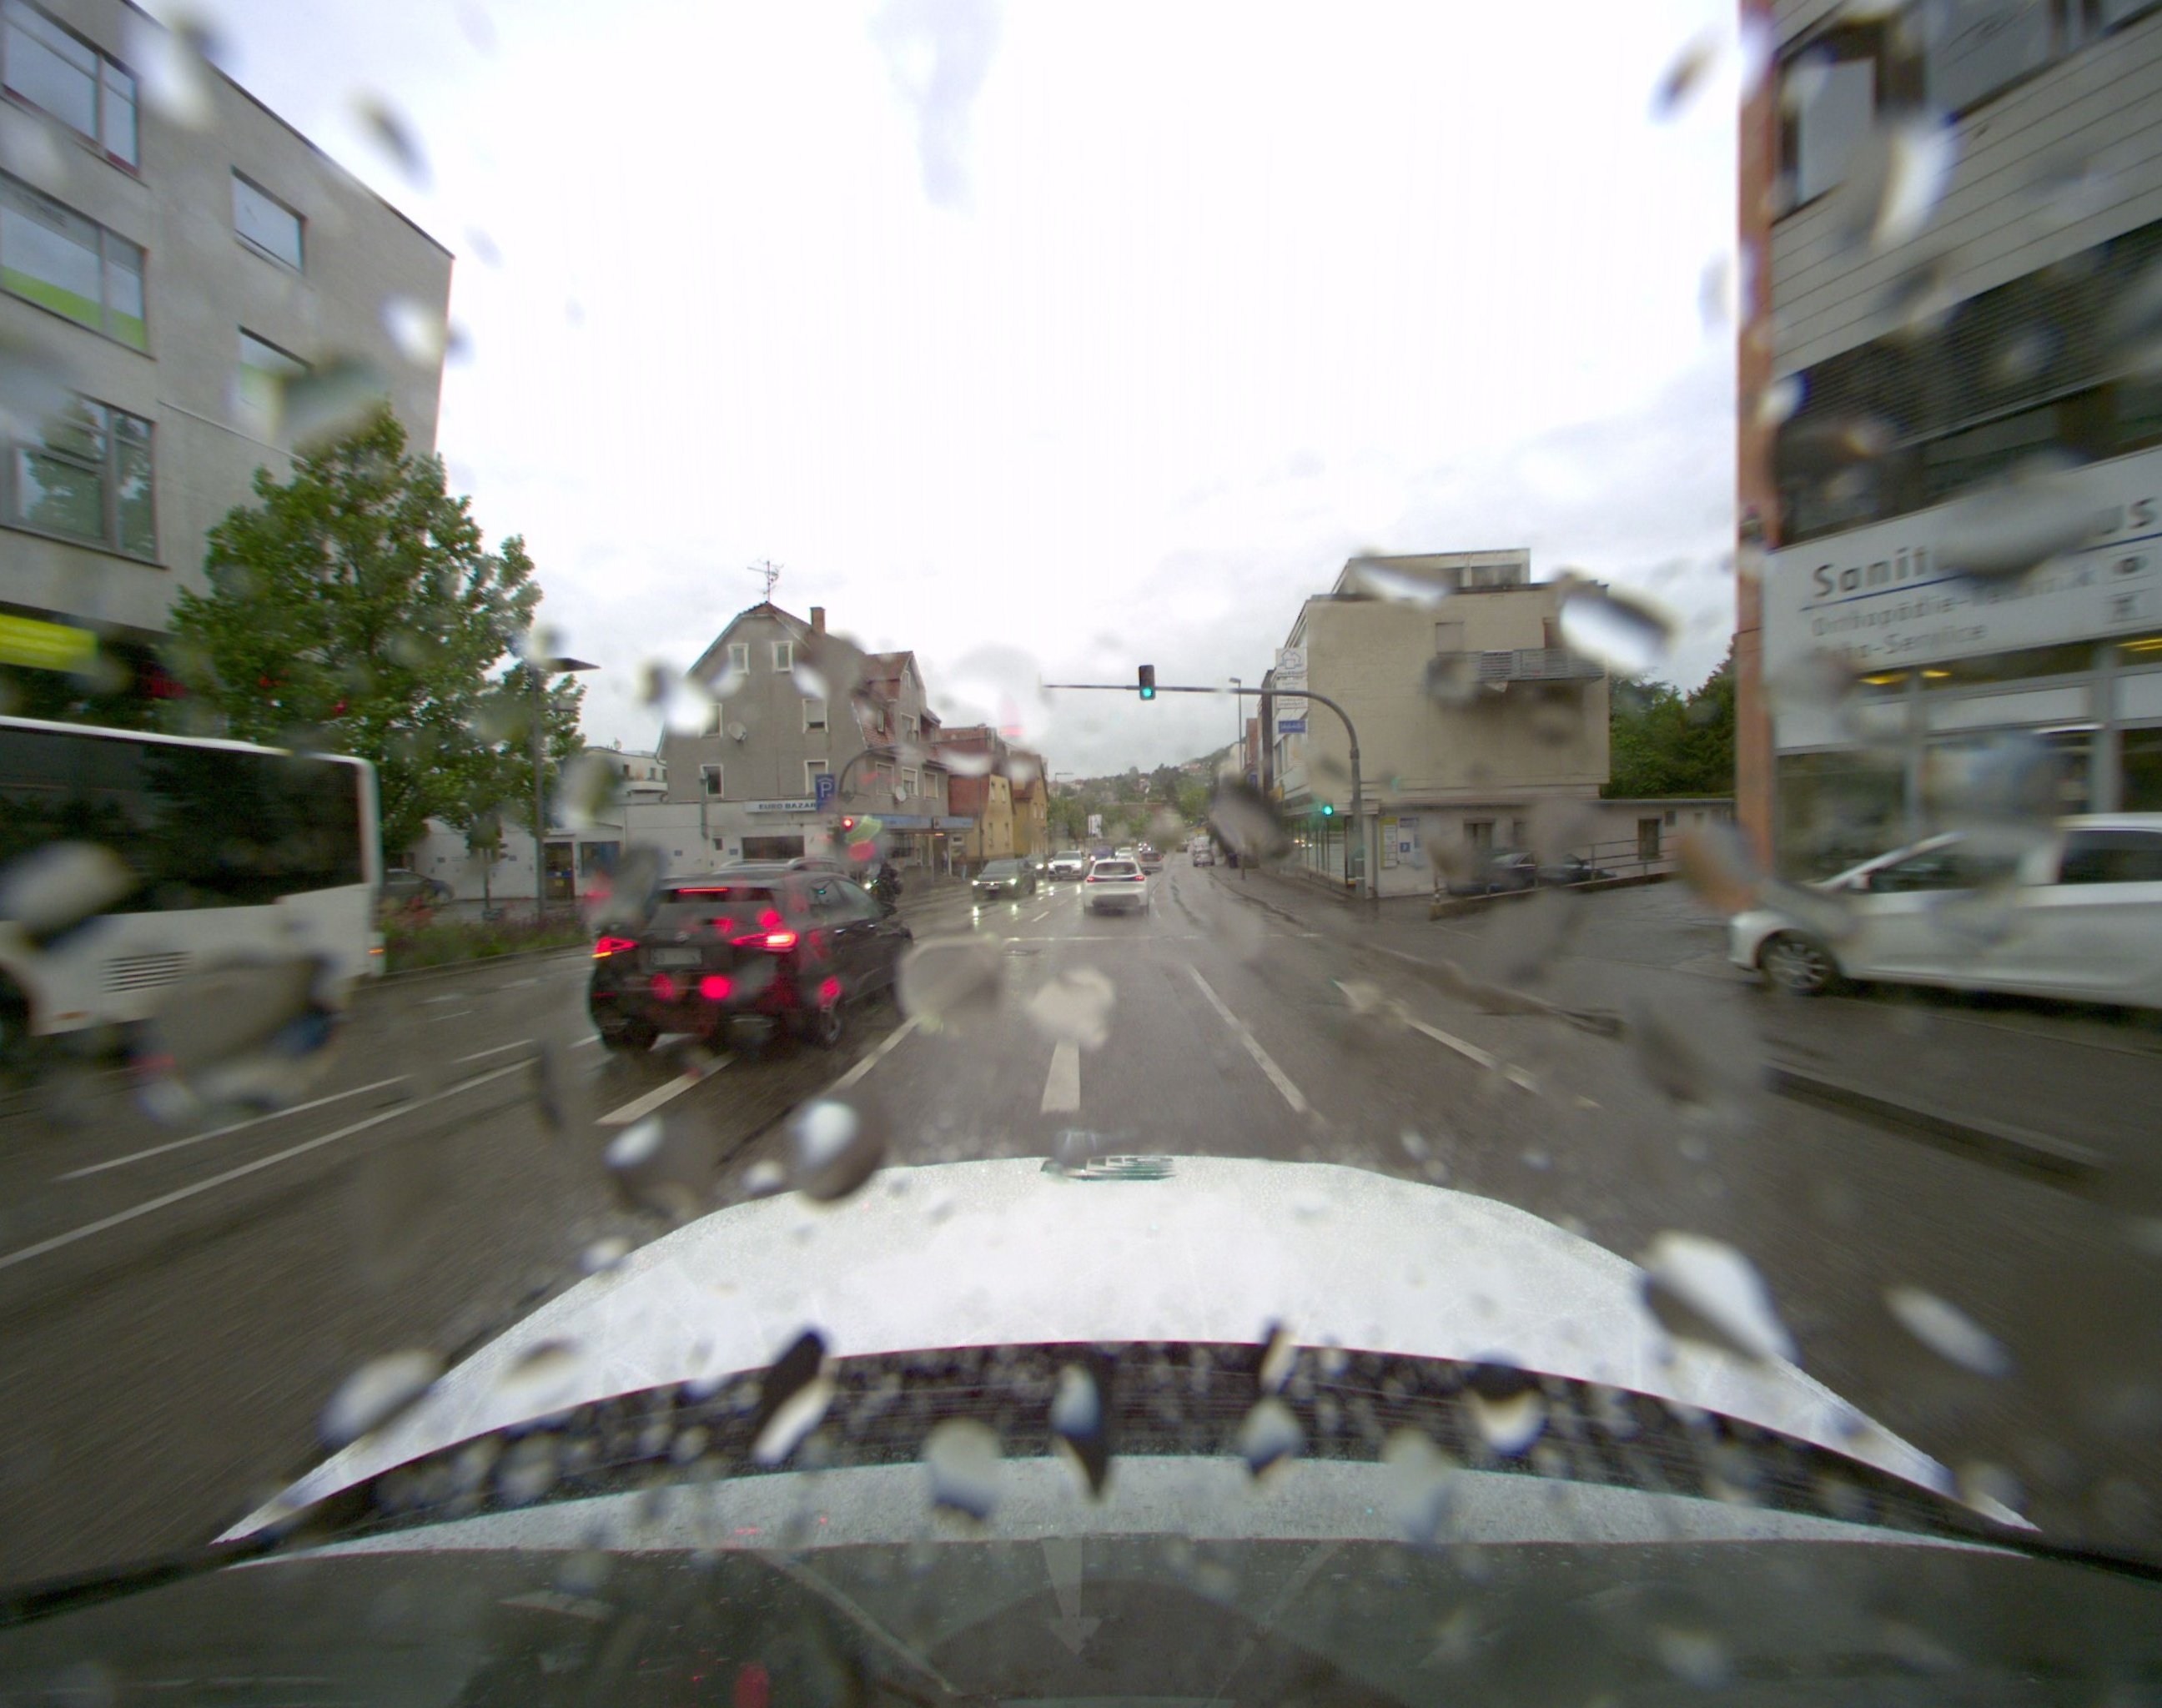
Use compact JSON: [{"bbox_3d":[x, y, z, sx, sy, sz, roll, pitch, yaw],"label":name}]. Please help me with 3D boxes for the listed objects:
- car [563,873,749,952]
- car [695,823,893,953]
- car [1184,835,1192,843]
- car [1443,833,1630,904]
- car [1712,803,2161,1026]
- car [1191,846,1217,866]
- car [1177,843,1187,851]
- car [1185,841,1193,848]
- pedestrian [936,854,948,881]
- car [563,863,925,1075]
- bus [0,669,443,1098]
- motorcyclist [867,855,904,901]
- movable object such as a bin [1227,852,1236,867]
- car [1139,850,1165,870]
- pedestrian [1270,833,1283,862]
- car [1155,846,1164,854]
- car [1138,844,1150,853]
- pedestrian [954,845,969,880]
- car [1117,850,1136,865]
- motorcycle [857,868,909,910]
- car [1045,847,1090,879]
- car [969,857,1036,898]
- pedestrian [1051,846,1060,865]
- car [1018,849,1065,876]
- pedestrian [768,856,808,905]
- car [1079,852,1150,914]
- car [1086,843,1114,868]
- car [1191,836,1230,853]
[{"bbox_3d":[-8.571,1.118,16.797,1.632,1.338,3.607,-2,-1,6],"label":"car"},{"bbox_3d":[-5.096,0.557,15.143,1.624,2.014,4.294,-2,-1,8],"label":"car"},{"bbox_3d":[29.534,-4.202,224.740,1.983,2.014,4.008,-2,-1,7],"label":"car"},{"bbox_3d":[11.034,0.300,19.668,4.409,1.411,1.721,-3,1,-26],"label":"car"},{"bbox_3d":[7.448,0.392,6.523,1.618,1.462,3.398,-2,-1,-22],"label":"car"},{"bbox_3d":[10.914,0.192,72.664,2.002,1.622,4.366,-1,-1,5],"label":"car"},{"bbox_3d":[17.506,-1.234,141.180,1.725,1.388,3.358,0,0,6],"label":"car"},{"bbox_3d":[24.627,-2.056,186.274,1.639,1.485,3.372,-2,-1,7],"label":"car"},{"bbox_3d":[-8.332,0.804,48.758,0.540,1.557,0.447,-2,-1,7],"label":"pedestrian"},{"bbox_3d":[-2.826,0.849,7.955,1.709,1.450,4.198,-2,-1,1],"label":"car"},{"bbox_3d":[-9.521,0.247,3.570,2.877,3.099,12.021,-2,0,7],"label":"bus"},{"bbox_3d":[-6.505,0.791,27.163,0.781,1.456,1.142,-2,-1,7],"label":"motorcyclist"},{"bbox_3d":[11.351,0.401,61.316,0.573,1.048,0.832,-3,2,6],"label":"movable object such as a bin"},{"bbox_3d":[5.187,0.423,59.602,1.734,1.295,3.337,-2,1,3],"label":"car"},{"bbox_3d":[12.166,-0.411,50.732,0.724,1.780,0.957,-1,1,14],"label":"pedestrian"},{"bbox_3d":[12.226,-0.564,126.810,1.207,1.156,2.273,-2,-1,5],"label":"car"},{"bbox_3d":[10.870,-0.943,139.847,1.759,1.413,4.534,-2,-1,6],"label":"car"},{"bbox_3d":[-6.612,0.470,44.971,0.659,1.921,0.946,1,-1,-1],"label":"pedestrian"},{"bbox_3d":[5.105,0.358,91.269,1.868,1.609,4.727,-2,0,6],"label":"car"},{"bbox_3d":[-6.539,1.128,27.038,0.902,1.283,2.189,-2,-1,7],"label":"motorcycle"},{"bbox_3d":[-0.728,0.507,48.234,2.089,1.712,4.855,-2,-1,5],"label":"car"},{"bbox_3d":[-2.930,0.858,31.329,1.750,1.434,4.386,-2,-1,5],"label":"car"},{"bbox_3d":[-2.519,0.139,80.455,0.799,1.788,0.881,-2,-1,-3],"label":"pedestrian"},{"bbox_3d":[-2.581,0.535,54.258,1.989,1.617,4.962,-2,-1,10],"label":"car"},{"bbox_3d":[-11.055,0.982,30.778,0.920,1.788,1.235,-2,-1,5],"label":"pedestrian"},{"bbox_3d":[1.004,0.751,22.403,1.682,1.519,3.939,-2,-1,6],"label":"car"},{"bbox_3d":[1.657,0.140,67.599,1.956,1.938,5.186,-2,-1,5],"label":"car"},{"bbox_3d":[20.022,-1.476,125.582,6.661,2.382,2.271,-2,-1,-42],"label":"car"}]
